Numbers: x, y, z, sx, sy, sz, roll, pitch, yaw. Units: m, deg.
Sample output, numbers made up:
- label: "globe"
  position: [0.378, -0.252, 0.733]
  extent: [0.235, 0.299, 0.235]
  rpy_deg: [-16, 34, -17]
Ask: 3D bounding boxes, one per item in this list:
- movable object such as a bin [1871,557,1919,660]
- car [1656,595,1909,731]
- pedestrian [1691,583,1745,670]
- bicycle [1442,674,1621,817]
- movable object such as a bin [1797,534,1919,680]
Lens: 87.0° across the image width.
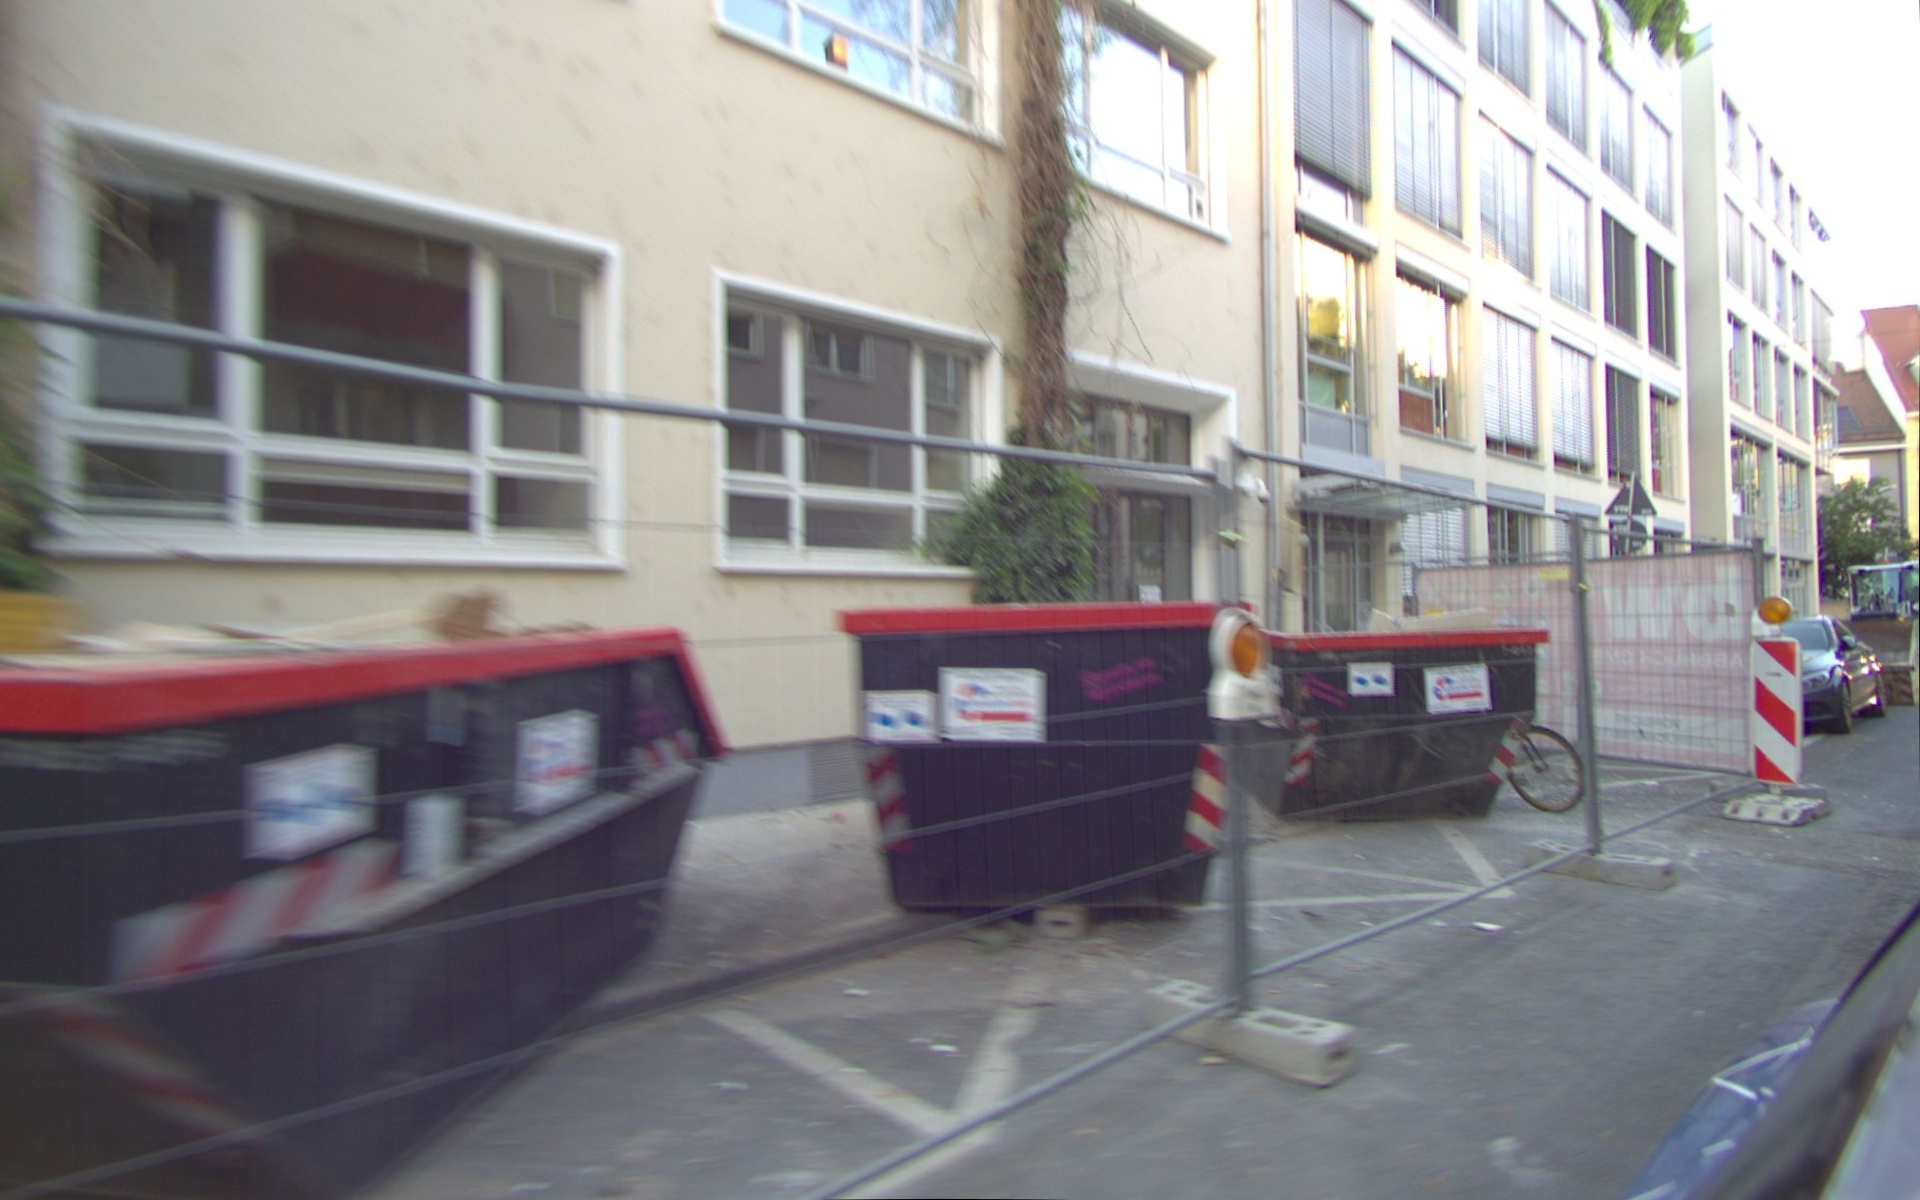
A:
- label: "movable object such as a bin"
  position: [26.919, 0.198, 27.763]
  extent: [5.649, 2.658, 2.018]
  rpy_deg: [0, -3, -41]
- label: "car"
  position: [10.866, 0.737, 13.252]
  extent: [4.368, 1.491, 1.789]
  rpy_deg: [0, -3, -41]
- label: "pedestrian"
  position: [16.591, 0.569, 22.147]
  extent: [0.709, 1.843, 0.806]
  rpy_deg: [0, -1, -41]
- label: "bicycle"
  position: [4.464, 1.092, 8.050]
  extent: [0.451, 0.920, 1.805]
  rpy_deg: [-1, -2, 3]
- label: "movable object such as a bin"
  position: [19.252, 0.196, 20.854]
  extent: [5.649, 2.658, 2.018]
  rpy_deg: [1, -4, -41]
